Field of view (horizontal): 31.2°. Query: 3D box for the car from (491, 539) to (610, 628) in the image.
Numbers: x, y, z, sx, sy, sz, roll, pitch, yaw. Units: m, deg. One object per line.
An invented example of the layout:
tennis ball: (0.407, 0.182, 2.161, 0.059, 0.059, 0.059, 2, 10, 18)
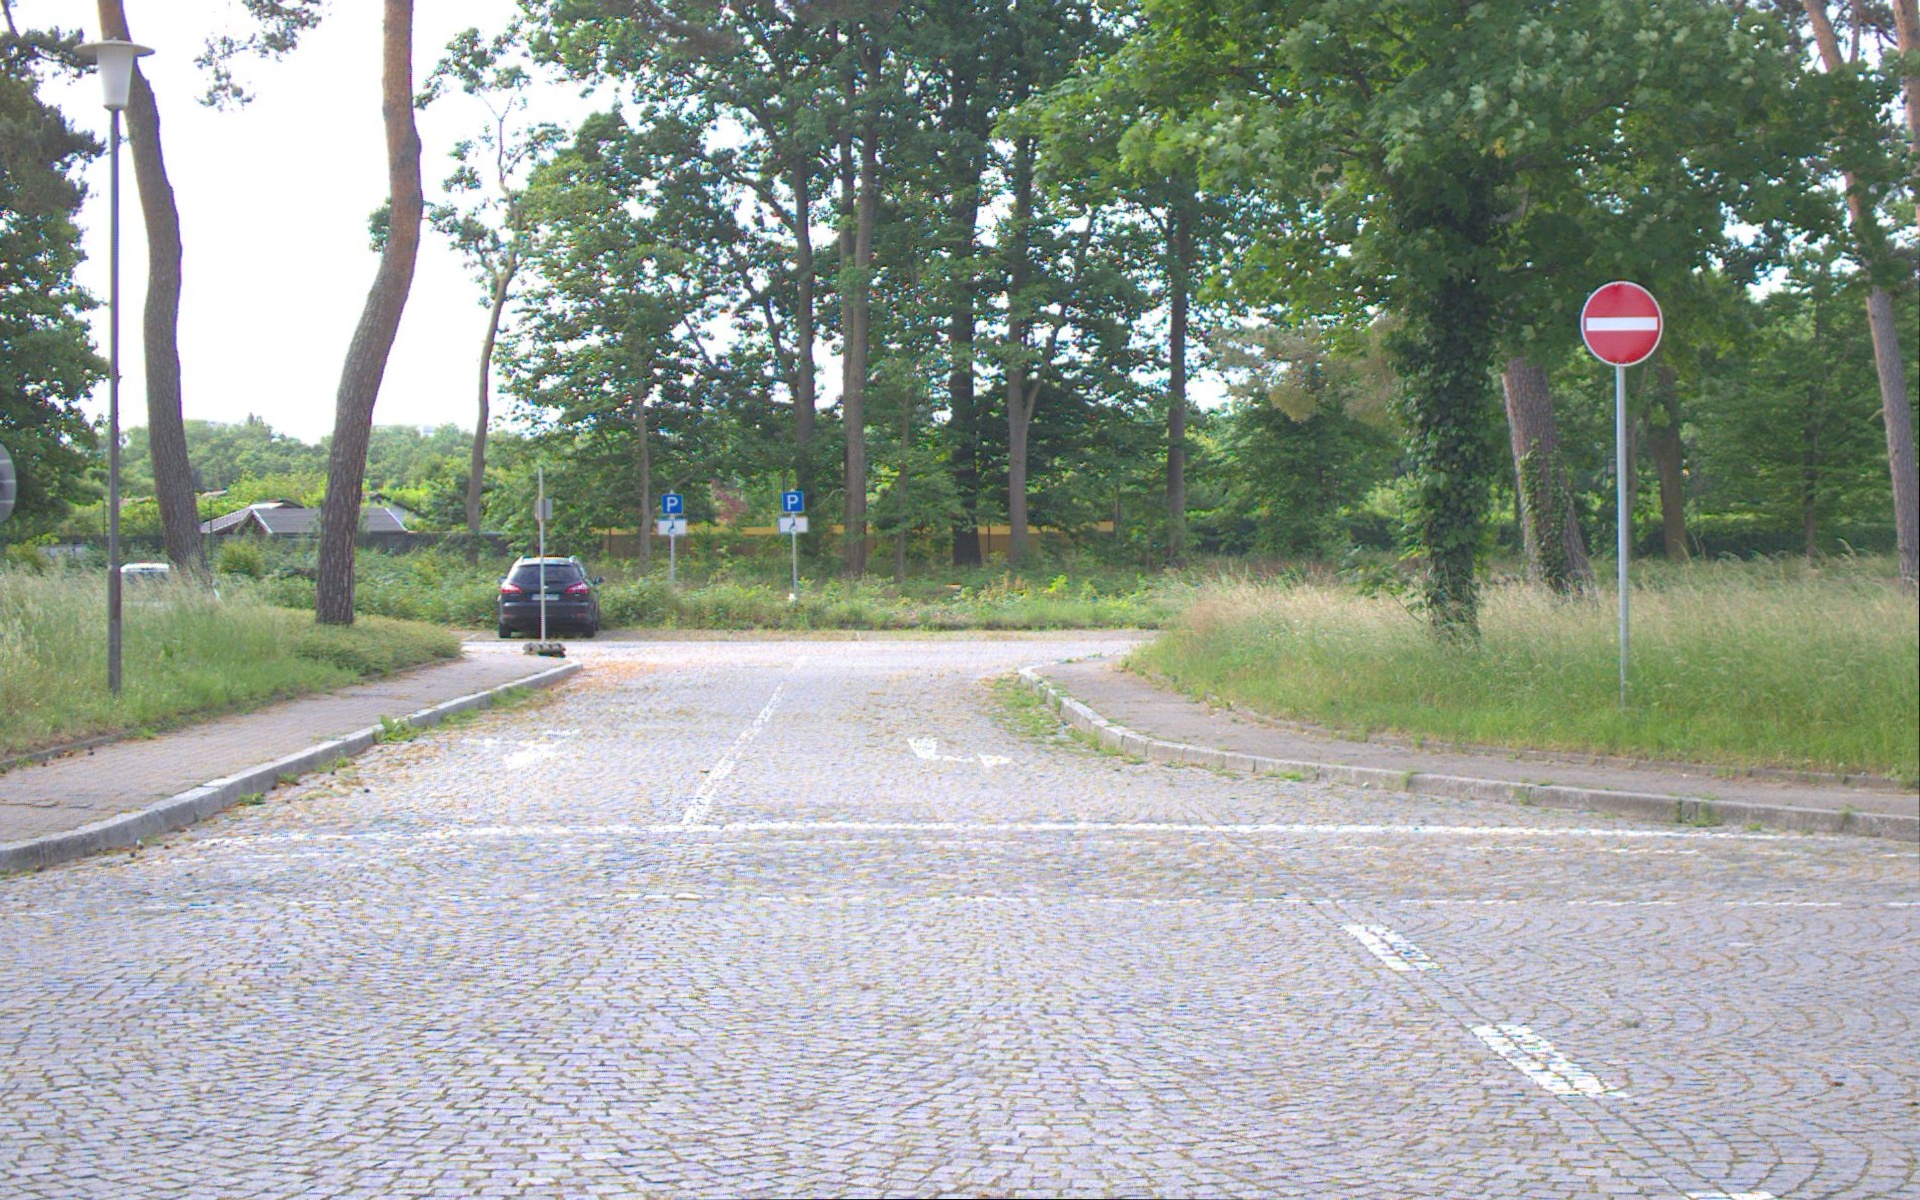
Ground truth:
car: (-7.856, -0.344, 66.309, 1.711, 1.605, 4.058, 2, 1, 1)

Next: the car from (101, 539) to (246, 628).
car: (-15.250, -0.341, 66.836, 1.711, 1.605, 4.058, 2, 1, 3)
